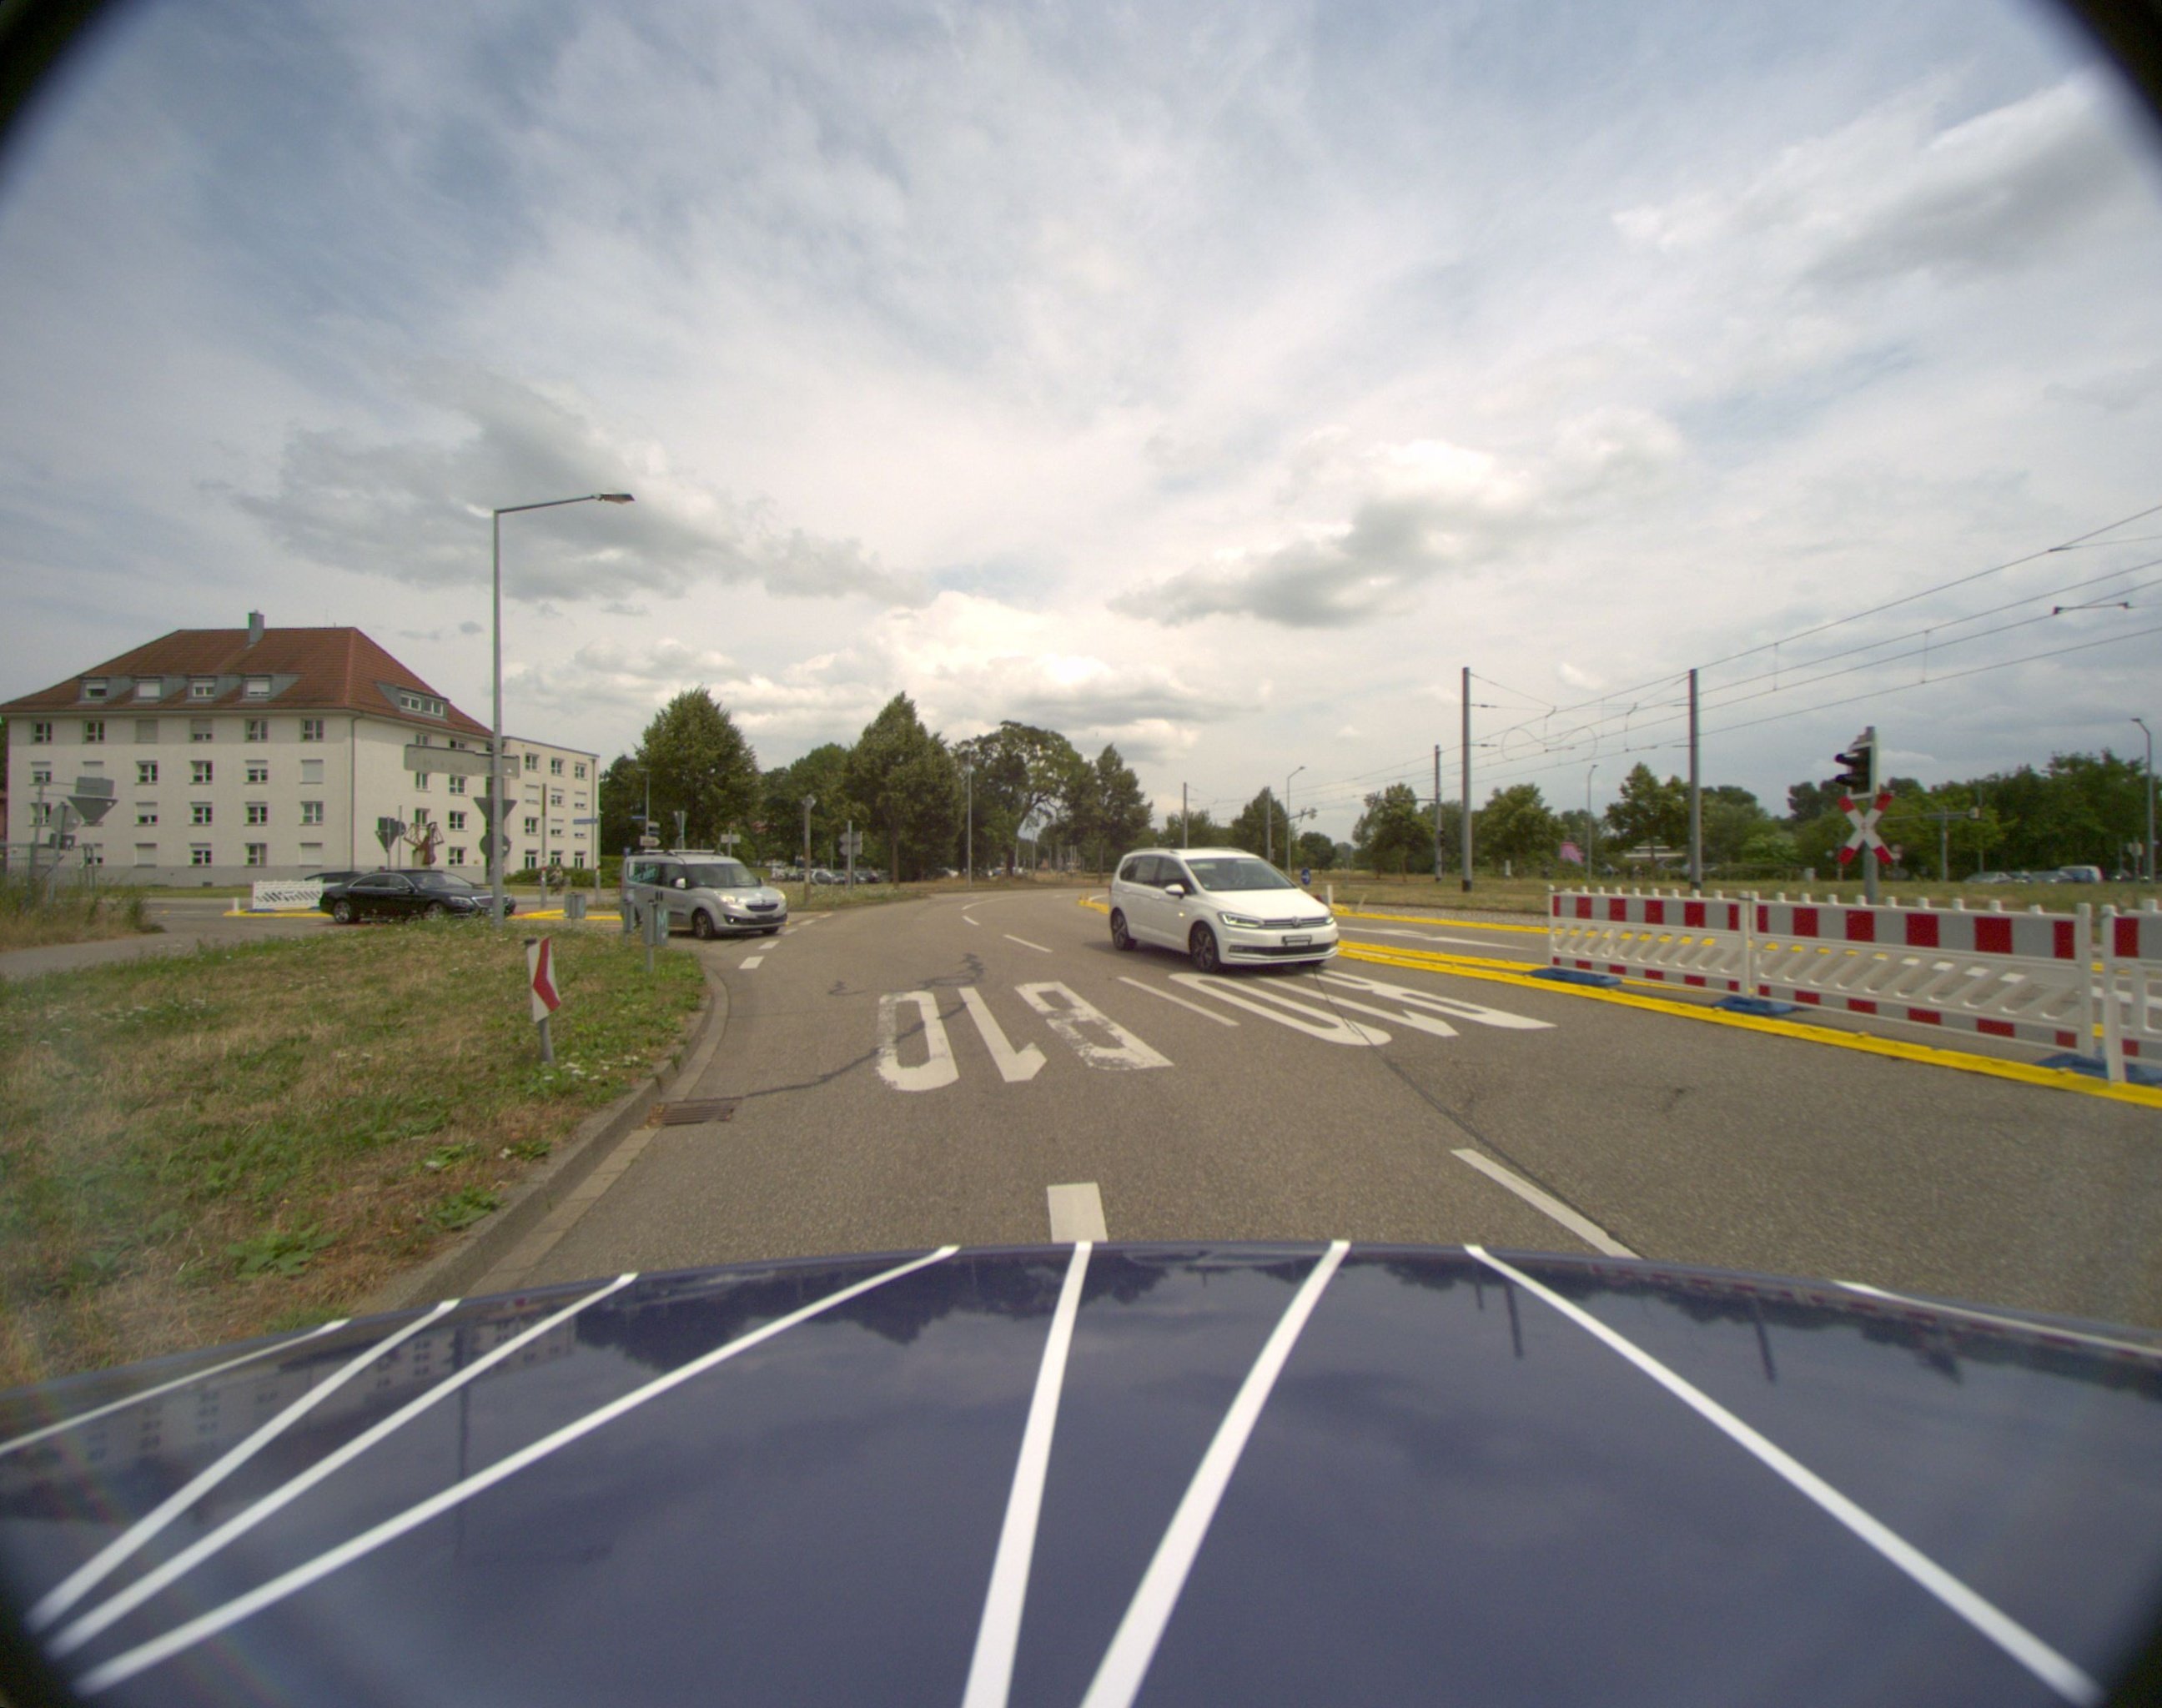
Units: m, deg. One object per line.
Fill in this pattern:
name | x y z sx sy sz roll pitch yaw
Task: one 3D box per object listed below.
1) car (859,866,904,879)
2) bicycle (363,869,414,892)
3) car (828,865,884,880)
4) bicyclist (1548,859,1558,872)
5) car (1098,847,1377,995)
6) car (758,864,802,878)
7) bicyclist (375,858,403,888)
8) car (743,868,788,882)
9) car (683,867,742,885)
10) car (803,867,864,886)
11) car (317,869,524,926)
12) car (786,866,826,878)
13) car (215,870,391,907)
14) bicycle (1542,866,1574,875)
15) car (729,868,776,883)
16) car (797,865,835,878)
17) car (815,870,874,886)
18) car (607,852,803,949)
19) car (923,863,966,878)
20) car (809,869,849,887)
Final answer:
car | -21.609 2.003 82.472 4.383 1.462 1.834 0 0 3
bicycle | -33.397 1.272 36.680 0.601 1.040 1.831 0 -1 10
car | -21.509 1.775 72.719 4.884 1.462 1.834 0 0 3
bicyclist | 49.213 1.217 79.215 0.866 1.401 0.672 0 0 -44
car | 1.988 0.791 11.154 1.940 1.656 4.347 -2 0 -21
car | -33.066 1.877 83.521 4.004 1.459 1.818 0 0 2
bicyclist | -33.399 0.902 36.667 0.601 1.415 0.804 0 0 10
car | -33.022 2.206 79.634 4.004 1.459 1.818 0 0 2
car | -33.706 1.998 69.588 4.402 1.588 2.001 0 0 4
car | -21.987 1.996 67.572 4.703 1.462 1.833 -2 0 0
car | -18.688 1.202 21.577 4.861 1.495 1.820 -1 0 11
car | -32.560 2.108 89.953 4.004 1.459 1.818 0 0 2
car | -32.660 1.418 32.038 5.181 1.473 2.000 0 0 -3
bicycle | 49.506 1.708 78.896 0.866 0.850 2.651 0 -1 -43
car | -33.498 2.185 77.519 4.004 1.459 1.615 0 0 2
car | -33.003 2.193 94.677 4.004 1.565 1.818 0 -1 2
car | -21.800 2.230 70.227 4.884 1.462 1.834 0 0 3
car | -8.504 0.936 17.074 4.571 1.936 1.815 0 0 32
car | -19.298 2.322 107.502 5.564 2.044 2.202 0 0 3
car | -21.548 2.063 65.040 2.915 1.414 1.483 -2 -1 -3
